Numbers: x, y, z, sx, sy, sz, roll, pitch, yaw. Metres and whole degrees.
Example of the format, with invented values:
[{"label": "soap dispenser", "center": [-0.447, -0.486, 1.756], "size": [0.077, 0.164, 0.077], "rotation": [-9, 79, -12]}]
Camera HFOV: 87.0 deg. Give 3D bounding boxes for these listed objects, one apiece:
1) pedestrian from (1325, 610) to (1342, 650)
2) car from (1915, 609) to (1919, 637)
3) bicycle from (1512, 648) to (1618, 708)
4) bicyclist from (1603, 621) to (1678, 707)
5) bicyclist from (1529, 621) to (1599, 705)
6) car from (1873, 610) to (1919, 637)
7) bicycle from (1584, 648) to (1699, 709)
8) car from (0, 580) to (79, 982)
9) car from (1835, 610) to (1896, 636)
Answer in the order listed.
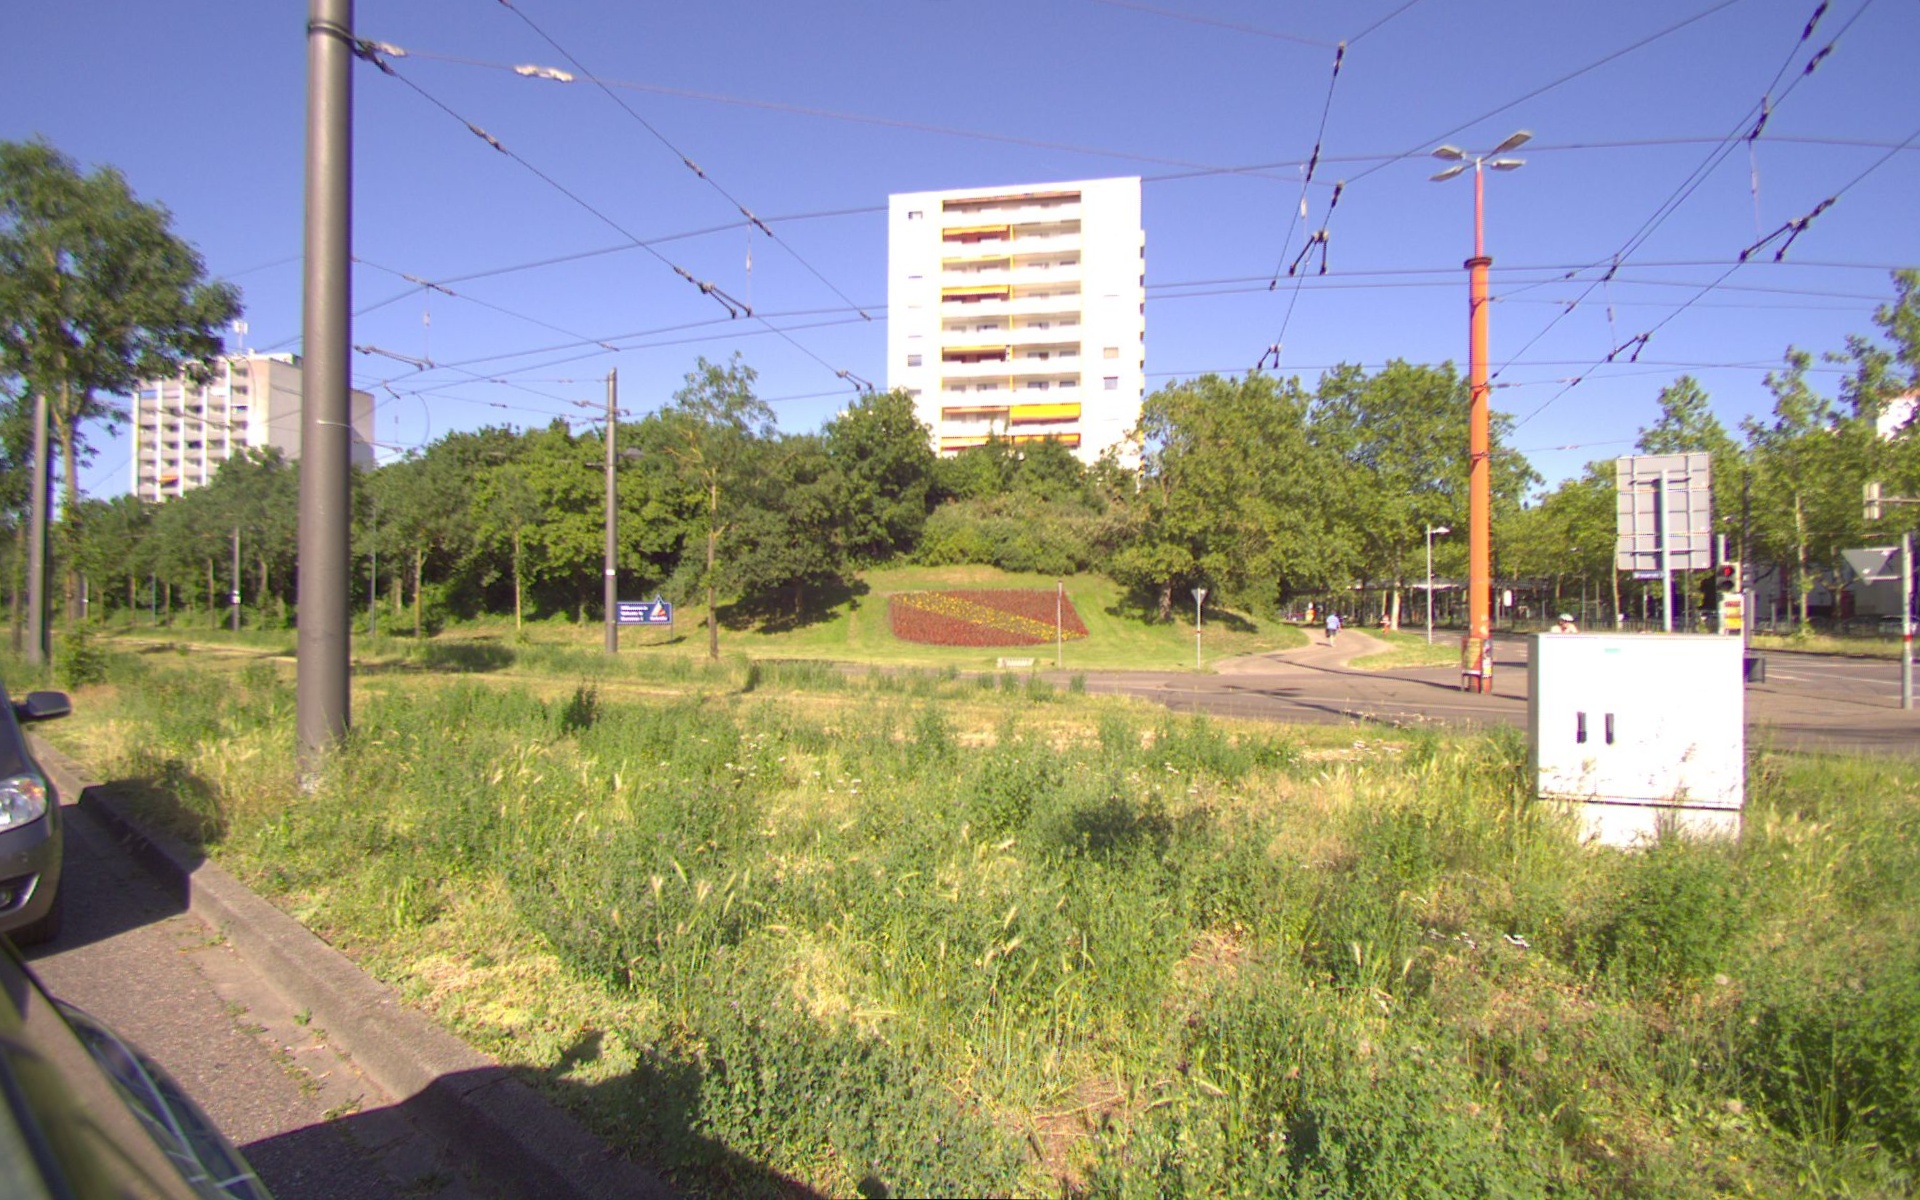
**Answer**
[{"label": "pedestrian", "center": [18.535, 1.473, 50.189], "size": [0.729, 1.949, 0.726], "rotation": [-1, -2, 24]}, {"label": "car", "center": [64.412, 1.503, 65.897], "size": [3.931, 1.829, 2.006], "rotation": [0, -2, -27]}, {"label": "bicycle", "center": [12.096, 1.534, 20.315], "size": [0.915, 1.095, 1.888], "rotation": [0, -1, -2]}, {"label": "bicyclist", "center": [13.358, 1.239, 19.879], "size": [0.920, 1.650, 0.741], "rotation": [0, -1, -1]}, {"label": "bicyclist", "center": [12.100, 1.256, 20.298], "size": [0.920, 1.650, 0.741], "rotation": [0, -1, -1]}, {"label": "car", "center": [65.255, 1.641, 69.860], "size": [3.931, 1.829, 2.006], "rotation": [0, -2, -27]}, {"label": "bicycle", "center": [13.361, 1.519, 19.913], "size": [0.915, 1.095, 1.888], "rotation": [0, -1, -2]}, {"label": "car", "center": [-5.937, 0.753, 5.041], "size": [4.382, 1.619, 1.754], "rotation": [-1, -2, 41]}, {"label": "car", "center": [66.023, 1.697, 73.756], "size": [3.931, 1.829, 2.006], "rotation": [0, -2, -27]}]
